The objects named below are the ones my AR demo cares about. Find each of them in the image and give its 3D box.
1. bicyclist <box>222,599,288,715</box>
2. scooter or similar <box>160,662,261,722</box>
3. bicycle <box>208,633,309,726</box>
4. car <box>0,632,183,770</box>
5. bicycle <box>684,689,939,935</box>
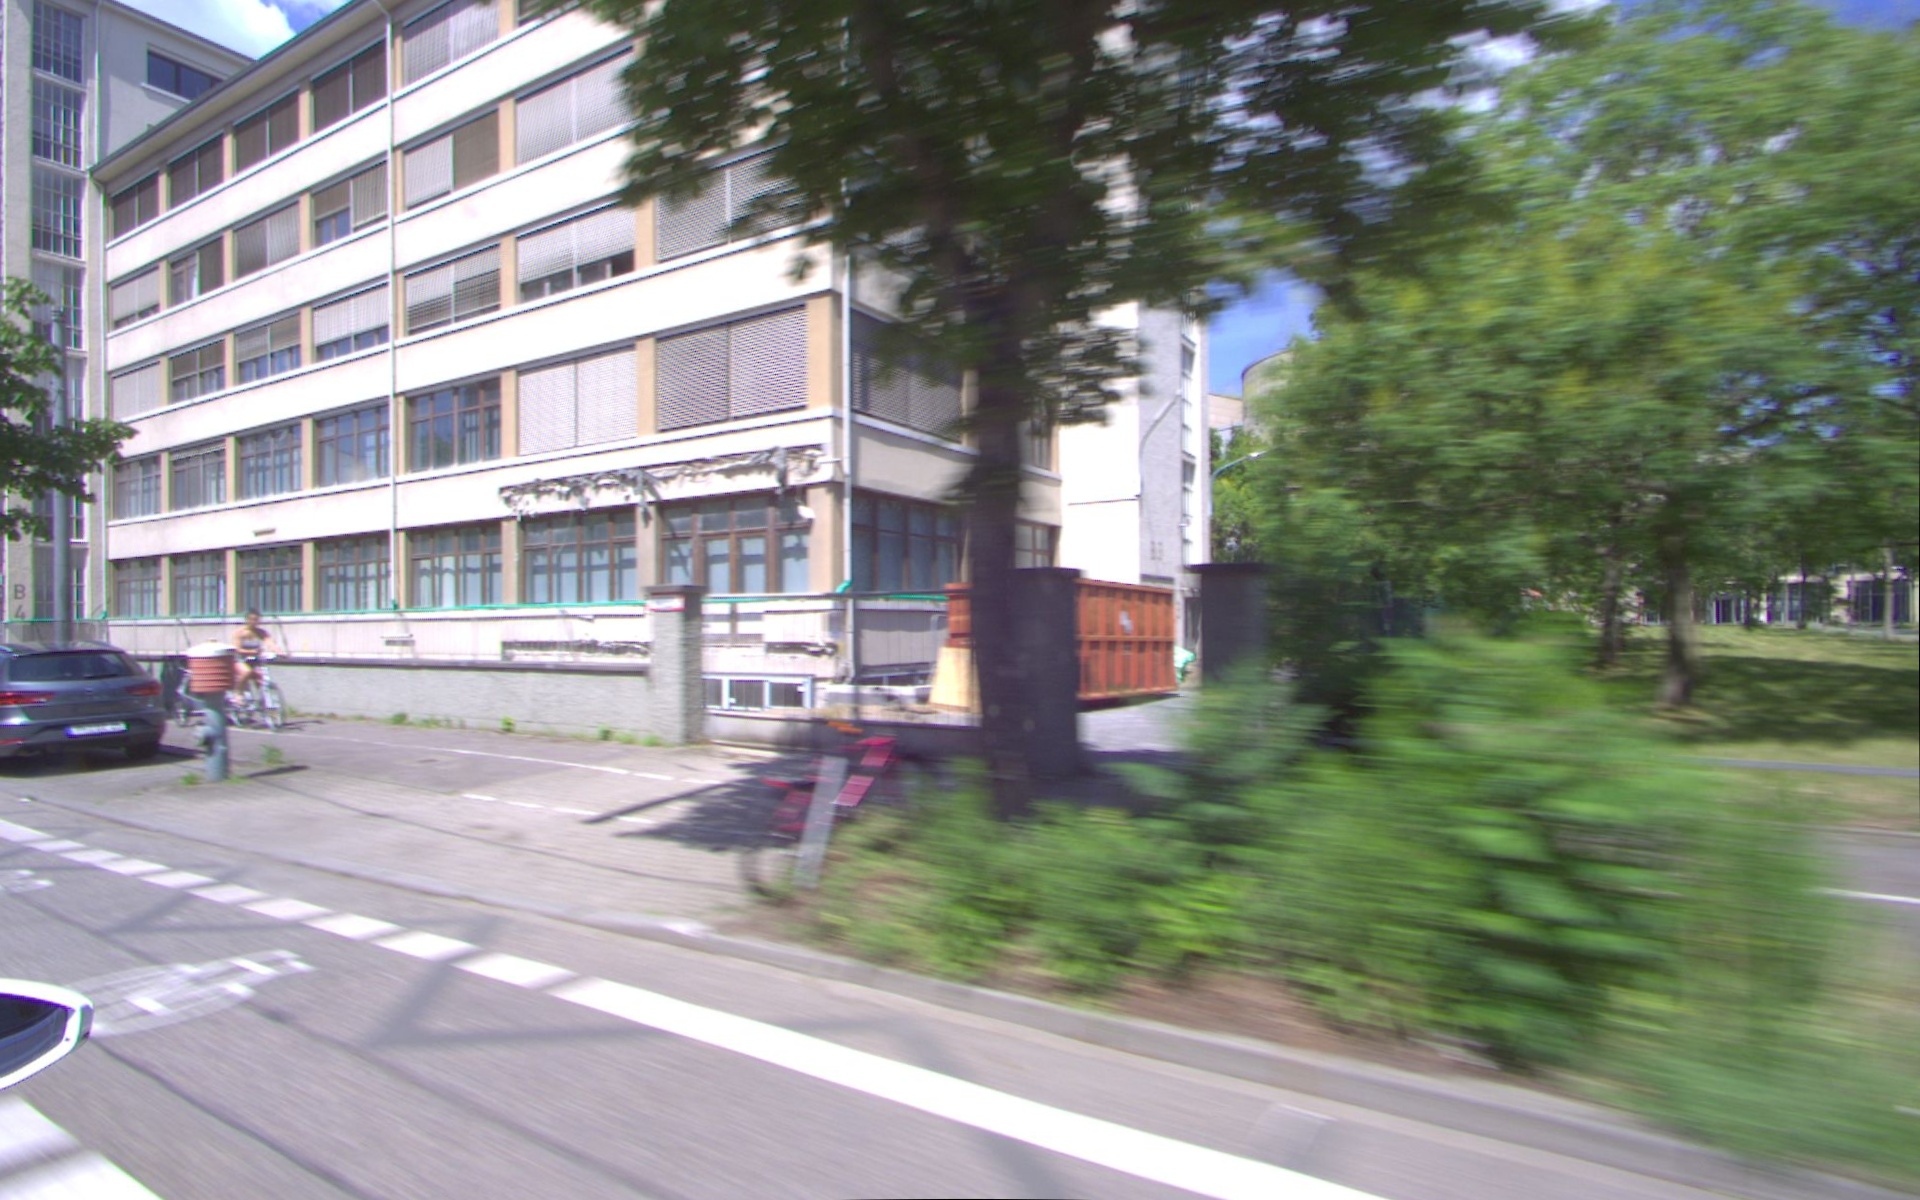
[{"bbox_3d":[-10.497,0.832,14.921,0.591,1.670,0.579,-1,1,32],"label":"bicyclist"},{"bbox_3d":[-11.813,1.429,15.772,1.533,0.818,0.760,-1,1,32],"label":"scooter or similar"},{"bbox_3d":[-10.448,1.151,14.894,1.748,1.282,0.553,-1,2,32],"label":"bicycle"},{"bbox_3d":[-11.655,1.120,12.402,4.680,1.426,1.668,-1,-1,31],"label":"car"},{"bbox_3d":[-0.771,1.097,5.661,0.554,1.074,1.583,-1,-1,30],"label":"bicycle"}]
